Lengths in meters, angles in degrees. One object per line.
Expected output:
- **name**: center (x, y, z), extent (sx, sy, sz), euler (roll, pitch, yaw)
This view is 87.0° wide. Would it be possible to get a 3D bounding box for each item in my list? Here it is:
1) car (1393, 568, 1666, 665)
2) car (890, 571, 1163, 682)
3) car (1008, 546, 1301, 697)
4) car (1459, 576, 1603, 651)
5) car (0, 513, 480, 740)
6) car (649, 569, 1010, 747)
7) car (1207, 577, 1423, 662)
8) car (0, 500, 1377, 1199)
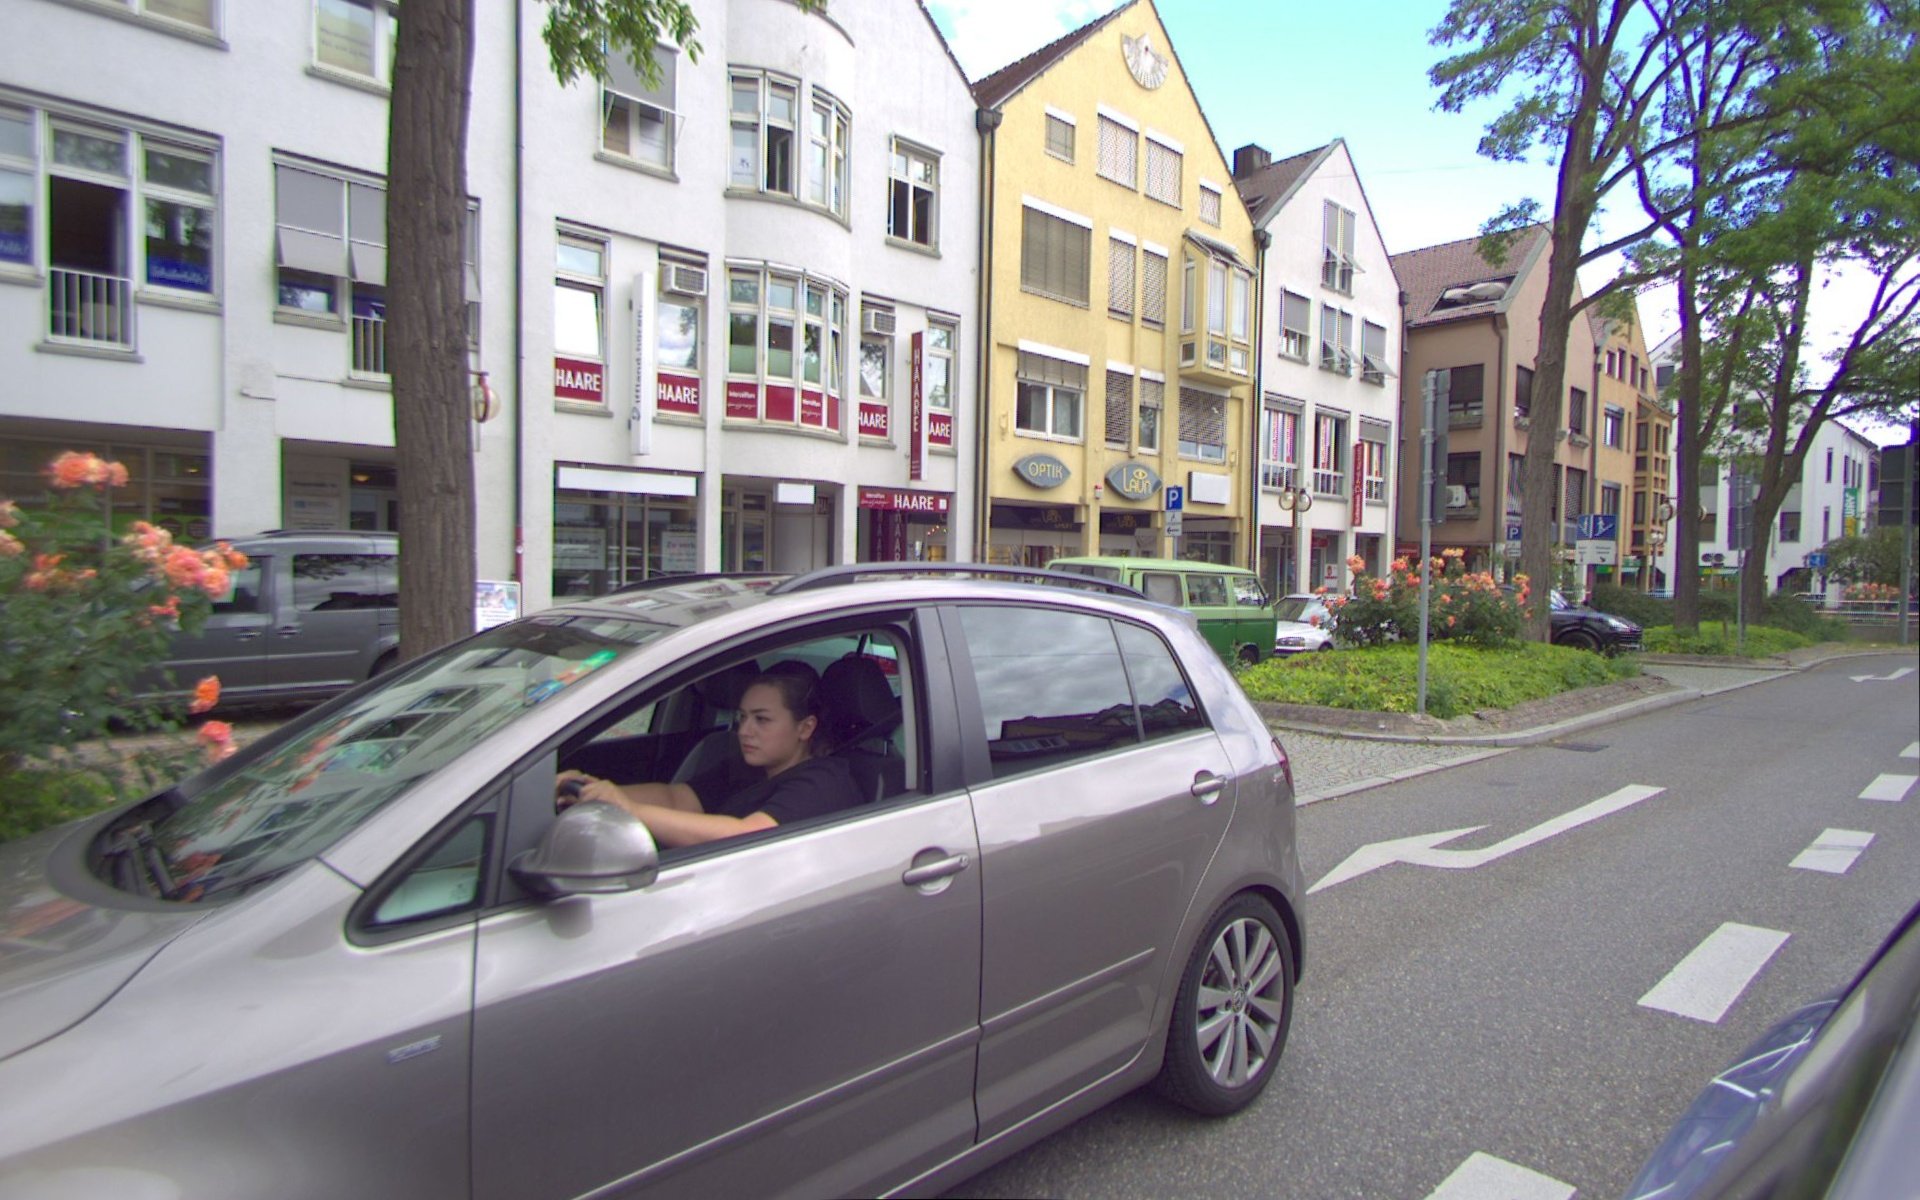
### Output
- **car**: center (11.976, 0.260, 21.478), extent (4.735, 1.699, 1.970), euler (4, 2, 41)
- **car**: center (1.248, 0.327, 17.129), extent (4.676, 1.566, 1.995), euler (-1, 4, -45)
- **car**: center (3.064, 0.200, 15.294), extent (4.675, 1.899, 1.996), euler (-1, 4, -44)
- **car**: center (14.756, 0.264, 26.045), extent (4.676, 1.674, 1.995), euler (-1, 4, -45)
- **car**: center (-7.166, 0.159, 9.837), extent (4.190, 1.826, 1.736), euler (-1, 3, -44)
- **car**: center (-1.672, 0.455, 11.287), extent (1.709, 1.471, 4.647), euler (0, 3, -41)
- **car**: center (6.714, 0.275, 18.869), extent (4.675, 1.325, 1.841), euler (-1, 4, -43)
- **car**: center (-0.692, 0.653, 2.729), extent (3.930, 1.549, 1.800), euler (0, 0, -41)
